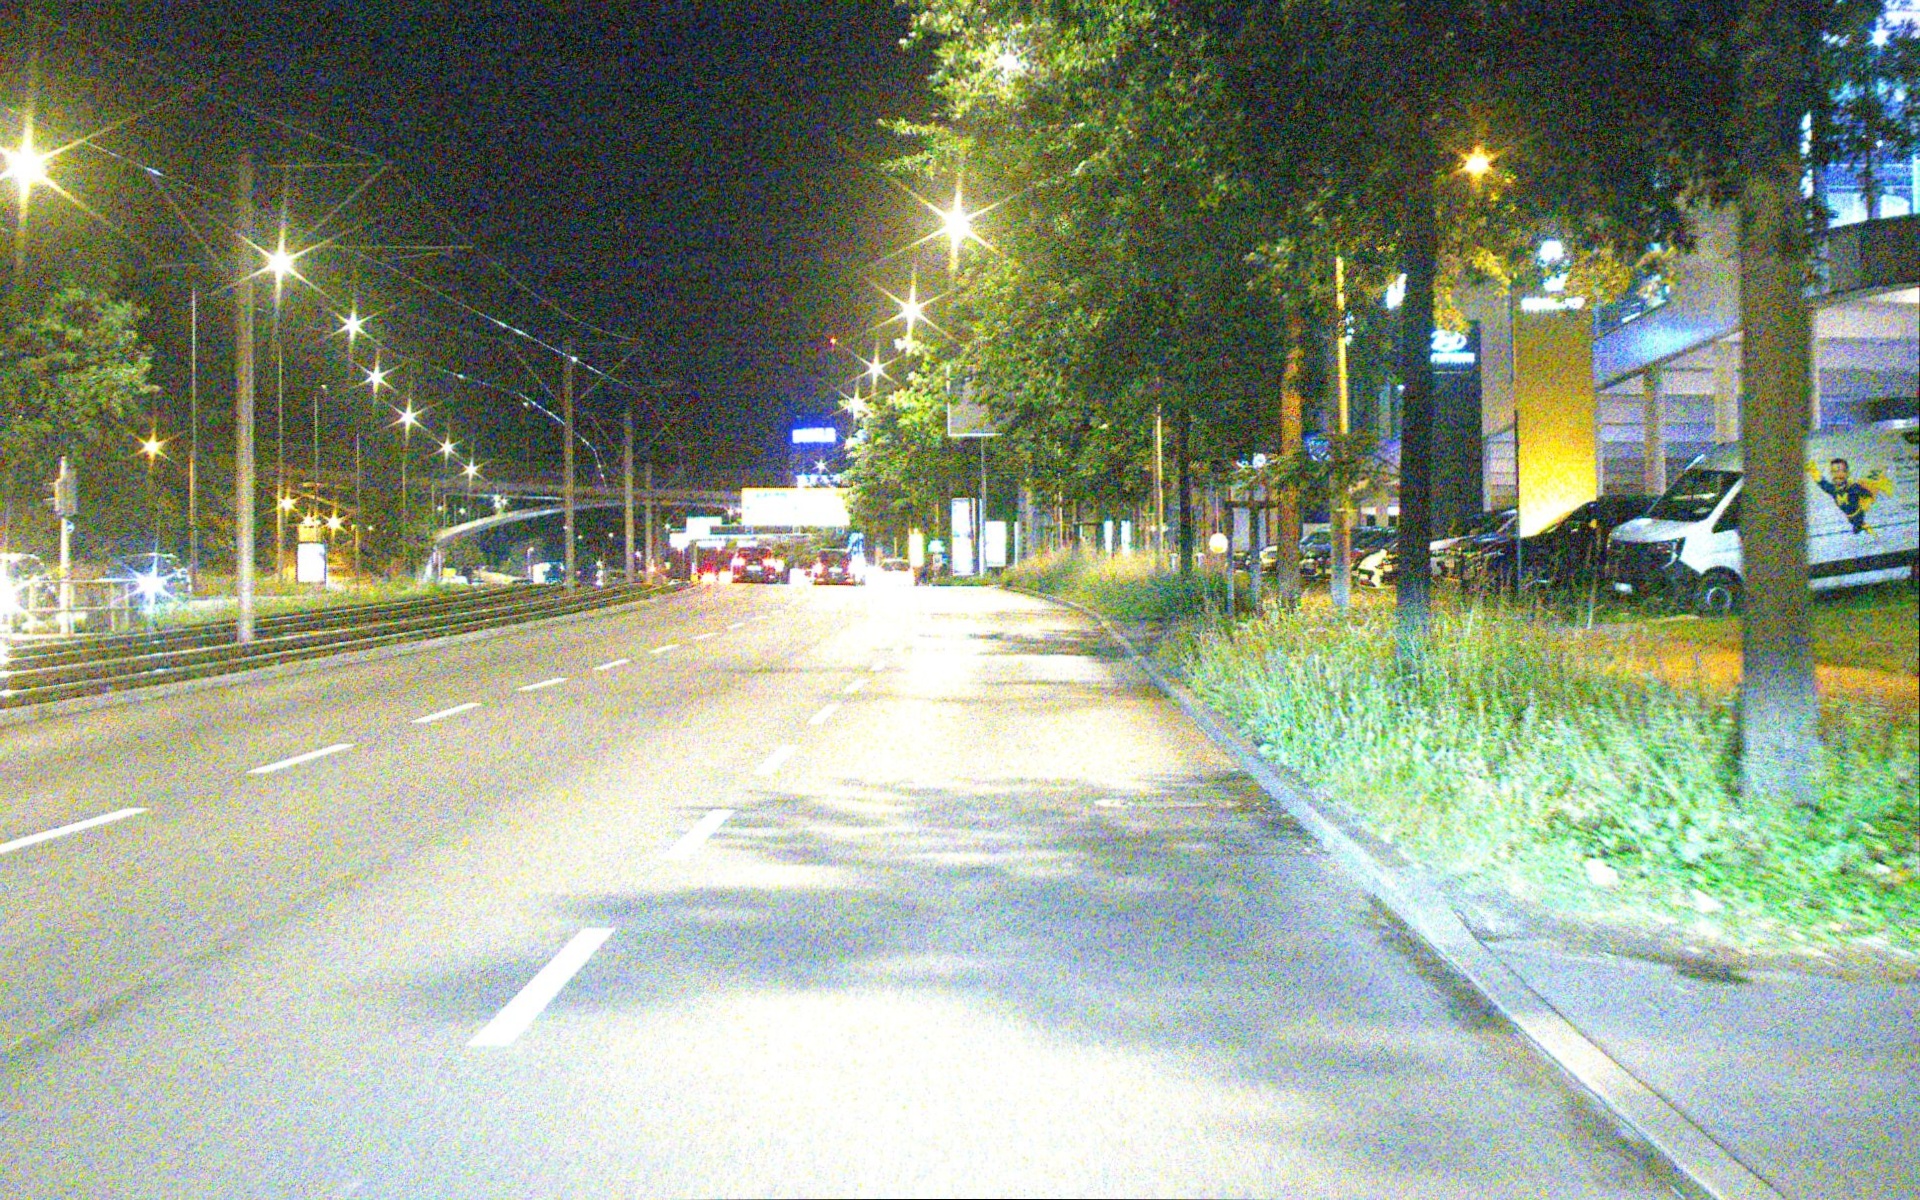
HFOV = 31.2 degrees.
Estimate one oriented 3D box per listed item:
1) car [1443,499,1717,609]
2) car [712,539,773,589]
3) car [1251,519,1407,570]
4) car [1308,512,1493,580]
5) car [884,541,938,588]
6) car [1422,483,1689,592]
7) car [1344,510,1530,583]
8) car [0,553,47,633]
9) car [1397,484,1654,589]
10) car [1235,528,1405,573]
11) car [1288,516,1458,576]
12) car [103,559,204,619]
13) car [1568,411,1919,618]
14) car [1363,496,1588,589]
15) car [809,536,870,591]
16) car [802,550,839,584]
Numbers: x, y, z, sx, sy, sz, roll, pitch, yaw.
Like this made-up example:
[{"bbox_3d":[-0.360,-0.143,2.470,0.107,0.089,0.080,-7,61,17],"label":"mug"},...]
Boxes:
[{"bbox_3d":[10.761,-0.801,59.795,4.201,1.657,1.962,-3,1,-11],"label":"car"},{"bbox_3d":[-8.834,-1.463,139.988,2.262,2.007,4.826,0,0,-1],"label":"car"},{"bbox_3d":[10.510,-1.596,97.971,3.986,1.419,1.910,-1,2,-18],"label":"car"},{"bbox_3d":[10.813,-1.319,84.415,4.022,1.369,1.826,-4,2,-16],"label":"car"},{"bbox_3d":[-2.260,-1.616,157.250,2.427,2.106,4.826,0,0,-1],"label":"car"},{"bbox_3d":[11.205,-1.189,64.810,4.459,1.804,2.001,-3,1,-11],"label":"car"},{"bbox_3d":[10.979,-1.230,79.208,3.801,1.448,1.718,-3,2,-14],"label":"car"},{"bbox_3d":[-18.812,-0.126,65.552,1.784,1.492,4.174,0,0,-1],"label":"car"},{"bbox_3d":[11.101,-1.256,67.647,4.459,1.681,2.001,-5,2,-11],"label":"car"},{"bbox_3d":[10.552,-1.467,100.696,4.628,1.260,1.948,-1,2,-25],"label":"car"},{"bbox_3d":[10.794,-1.423,89.874,3.986,1.387,1.827,-3,2,-22],"label":"car"},{"bbox_3d":[-21.004,-0.296,89.637,1.660,1.511,3.910,0,0,1],"label":"car"},{"bbox_3d":[12.175,-1.304,49.990,6.015,2.520,2.284,-6,2,-17],"label":"car"},{"bbox_3d":[10.575,-1.184,70.613,4.079,1.563,1.855,-5,2,-11],"label":"car"},{"bbox_3d":[-4.955,-1.502,141.777,2.356,2.122,4.826,-2,0,-1],"label":"car"},{"bbox_3d":[-7.481,-1.771,184.962,1.887,1.853,4.000,0,0,-1],"label":"car"}]
